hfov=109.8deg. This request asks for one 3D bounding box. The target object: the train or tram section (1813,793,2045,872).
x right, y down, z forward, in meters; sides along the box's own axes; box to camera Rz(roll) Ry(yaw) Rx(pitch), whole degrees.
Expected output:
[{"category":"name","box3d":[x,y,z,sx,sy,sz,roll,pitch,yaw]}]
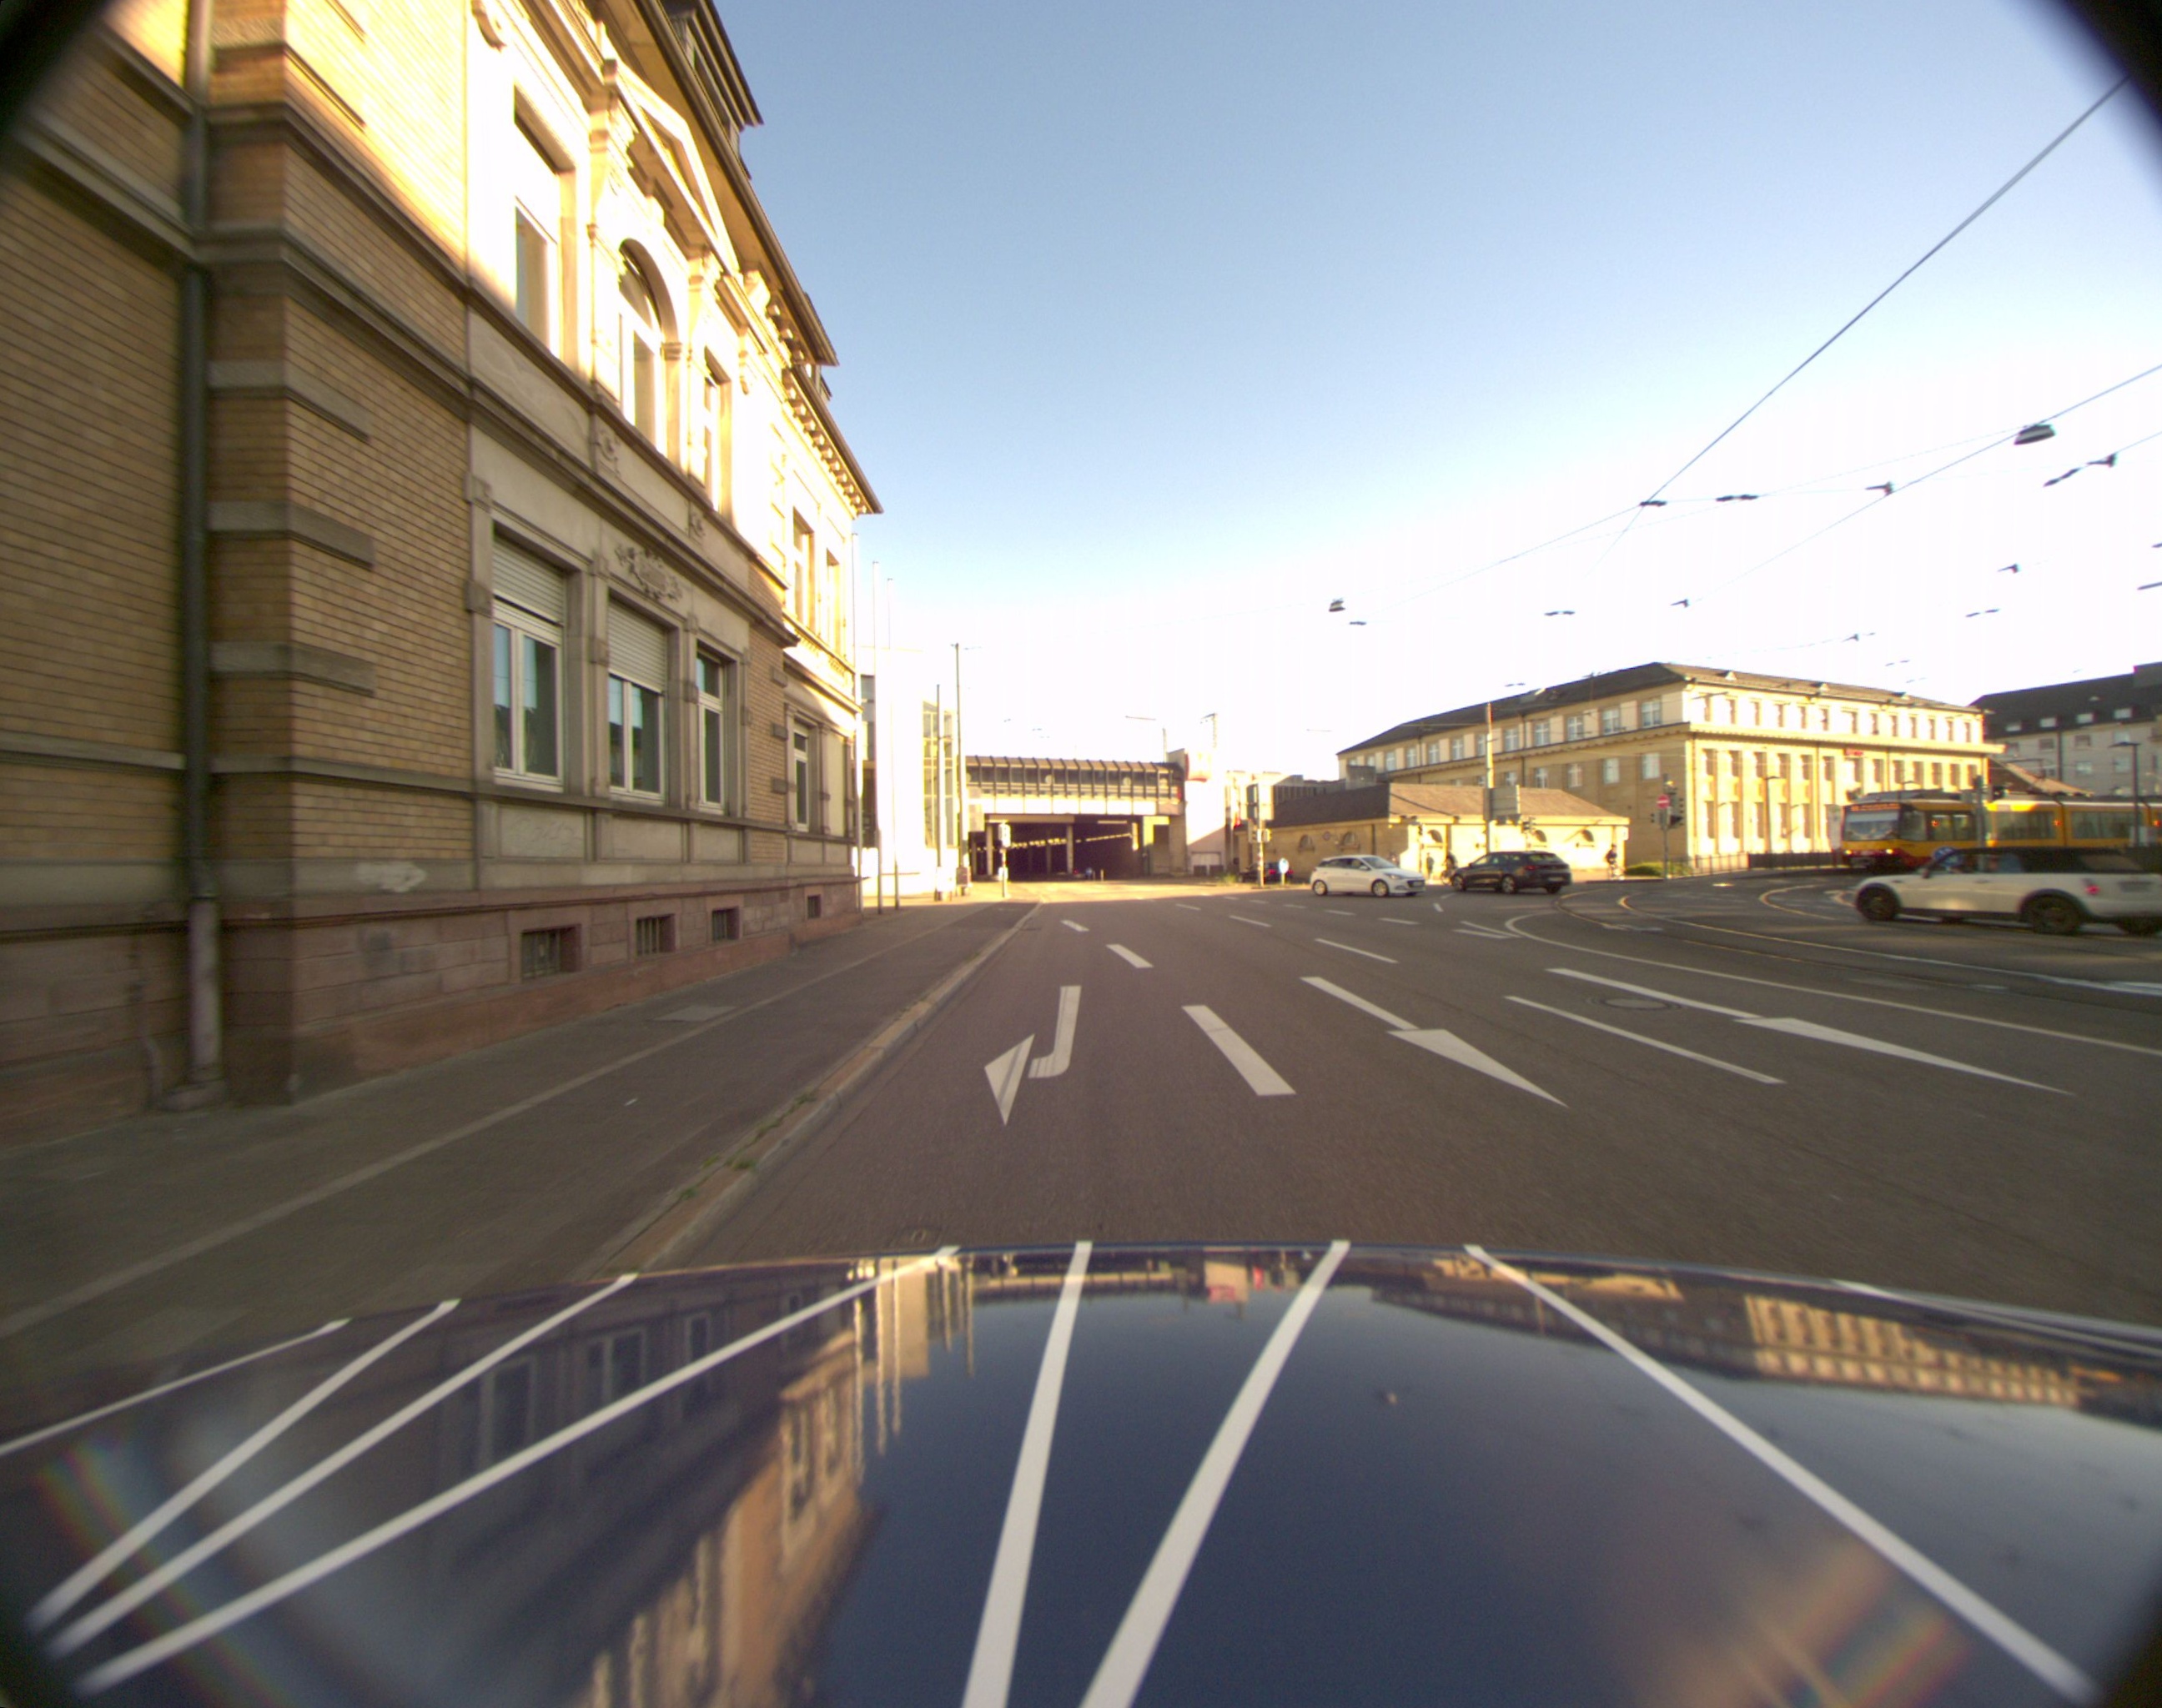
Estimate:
[{"category":"train or tram section","box3d":[39.645,-0.977,35.435,11.829,3.301,3.162,-1,0,-21]}]

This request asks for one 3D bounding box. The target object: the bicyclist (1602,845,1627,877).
[{"category":"bicyclist","box3d":[27.835,0.357,39.632,0.941,1.630,0.676,-2,0,-26]}]

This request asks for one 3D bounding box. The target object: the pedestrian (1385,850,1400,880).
[{"category":"pedestrian","box3d":[17.452,0.611,42.557,0.624,1.630,0.516,-1,0,42]}]

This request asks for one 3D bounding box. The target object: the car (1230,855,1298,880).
[{"category":"car","box3d":[11.082,0.821,46.444,2.001,1.384,4.555,-1,0,-17]}]

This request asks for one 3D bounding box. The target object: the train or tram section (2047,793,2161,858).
[{"category":"train or tram section","box3d":[60.120,-1.658,43.281,10.860,3.337,3.160,-2,0,-21]}]

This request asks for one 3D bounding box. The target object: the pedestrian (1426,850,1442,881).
[{"category":"pedestrian","box3d":[18.790,0.609,40.430,0.624,1.630,0.490,-1,0,42]}]

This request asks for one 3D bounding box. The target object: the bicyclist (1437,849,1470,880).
[{"category":"bicyclist","box3d":[17.305,0.491,35.306,0.936,1.374,1.148,-1,0,0]}]

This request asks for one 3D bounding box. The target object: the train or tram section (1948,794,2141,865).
[{"category":"train or tram section","box3d":[50.077,-1.294,39.449,10.690,3.337,3.160,-2,0,-21]}]

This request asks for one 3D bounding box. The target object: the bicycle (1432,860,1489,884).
[{"category":"bicycle","box3d":[17.299,0.806,34.728,0.936,1.050,3.354,-1,-1,0]}]

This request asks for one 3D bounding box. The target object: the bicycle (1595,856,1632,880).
[{"category":"bicycle","box3d":[27.750,0.713,39.587,2.076,1.129,0.684,-2,0,-27]}]

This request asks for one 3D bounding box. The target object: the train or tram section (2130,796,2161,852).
[{"category":"train or tram section","box3d":[70.235,-2.025,47.220,10.860,3.337,3.160,-2,0,-21]}]

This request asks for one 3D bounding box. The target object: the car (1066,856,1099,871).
[{"category":"car","box3d":[0.126,0.964,76.568,1.831,1.417,4.320,-1,0,-20]}]

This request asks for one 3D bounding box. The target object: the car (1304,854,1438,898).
[{"category":"car","box3d":[10.033,0.750,26.568,1.795,1.385,4.096,-1,0,-31]}]

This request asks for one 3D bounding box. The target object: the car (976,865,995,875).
[{"category":"car","box3d":[-14.145,2.332,112.640,1.818,1.382,4.240,-1,-1,-21]}]

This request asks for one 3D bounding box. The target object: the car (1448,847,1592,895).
[{"category":"car","box3d":[14.789,0.560,25.957,1.928,1.446,4.495,-1,0,-7]}]

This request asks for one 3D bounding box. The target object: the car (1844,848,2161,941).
[{"category":"car","box3d":[15.862,0.619,13.127,1.731,1.367,3.533,-1,-1,-3]}]
